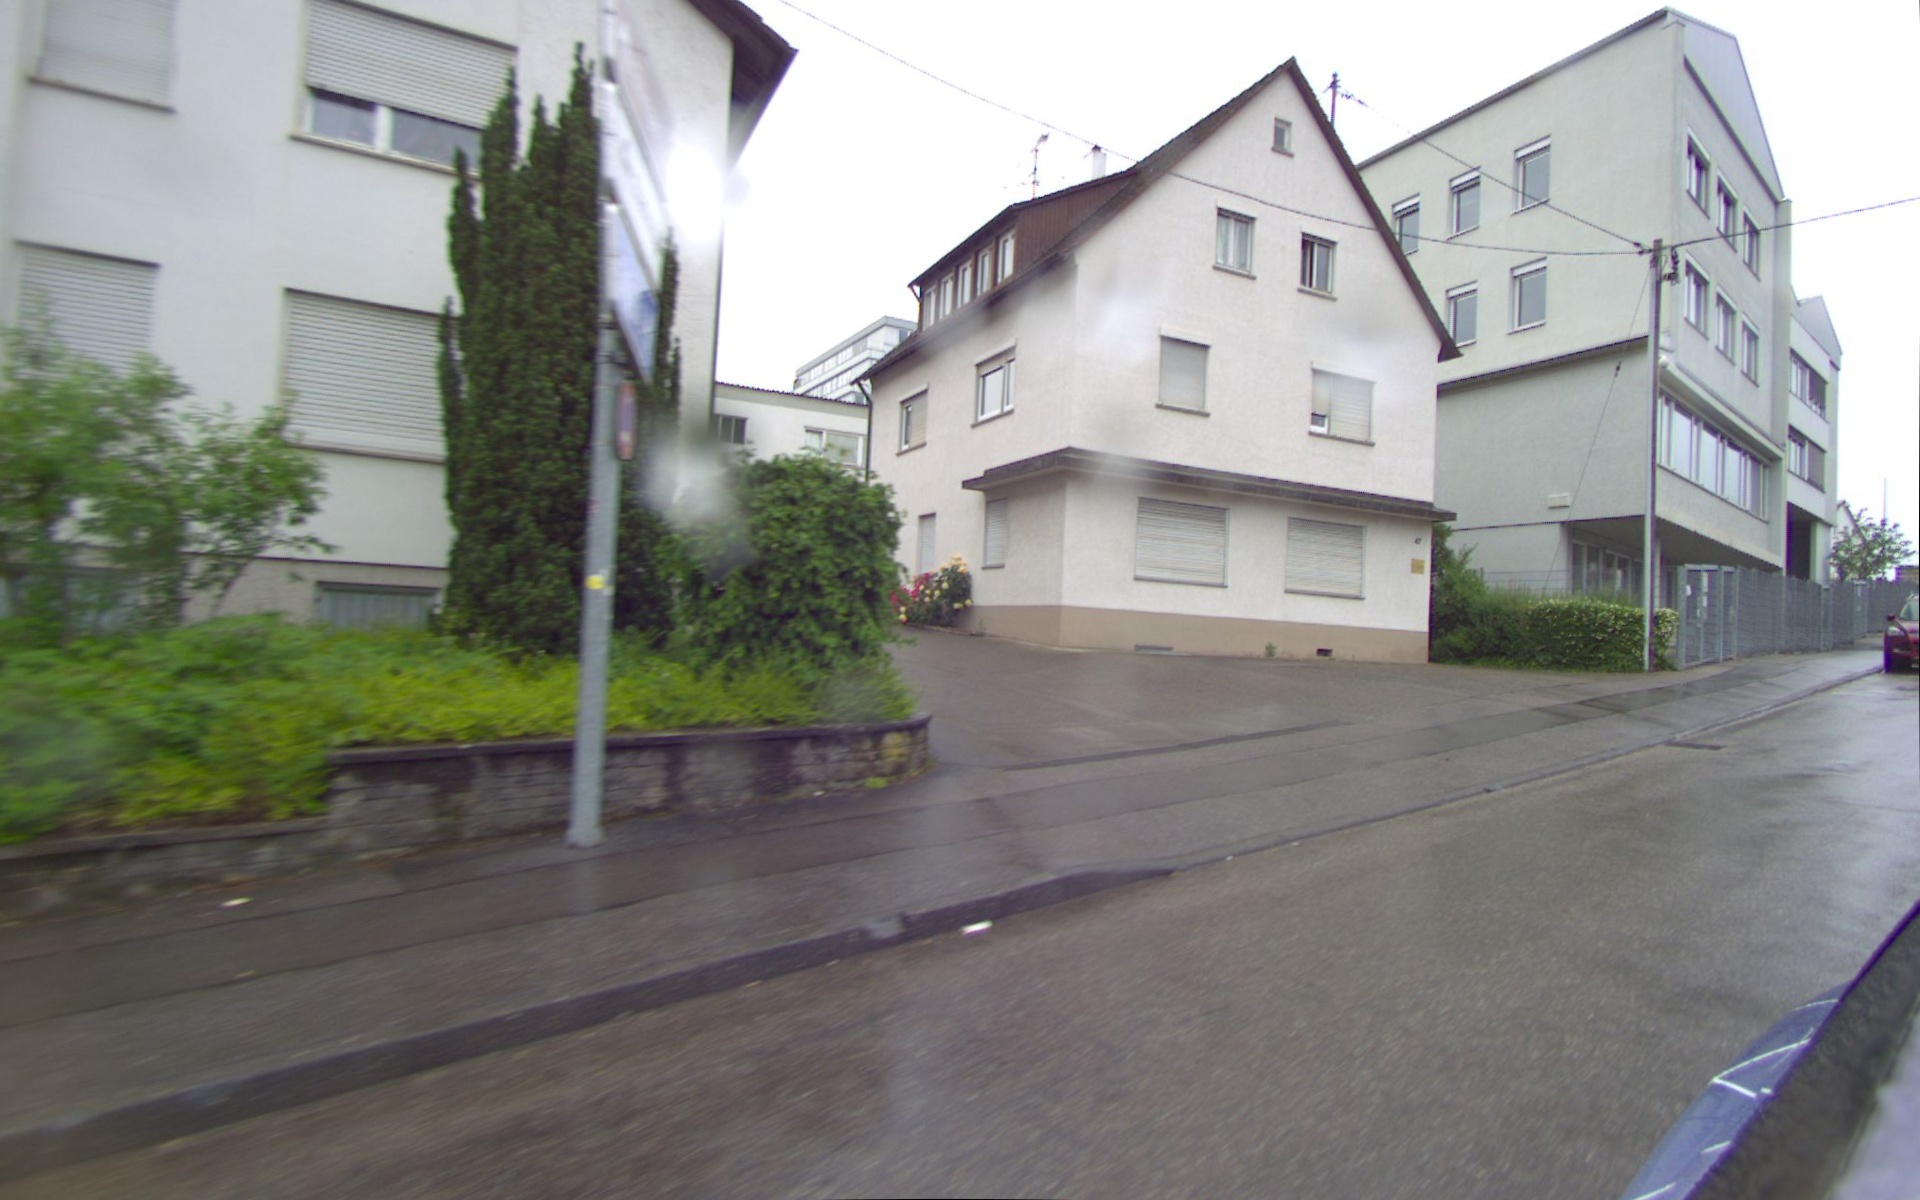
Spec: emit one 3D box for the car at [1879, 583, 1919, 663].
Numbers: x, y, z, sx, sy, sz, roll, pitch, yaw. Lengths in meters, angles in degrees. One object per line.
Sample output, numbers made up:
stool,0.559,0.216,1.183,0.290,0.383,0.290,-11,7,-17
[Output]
car,22.151,0.479,22.447,4.870,1.665,1.997,0,1,-40
